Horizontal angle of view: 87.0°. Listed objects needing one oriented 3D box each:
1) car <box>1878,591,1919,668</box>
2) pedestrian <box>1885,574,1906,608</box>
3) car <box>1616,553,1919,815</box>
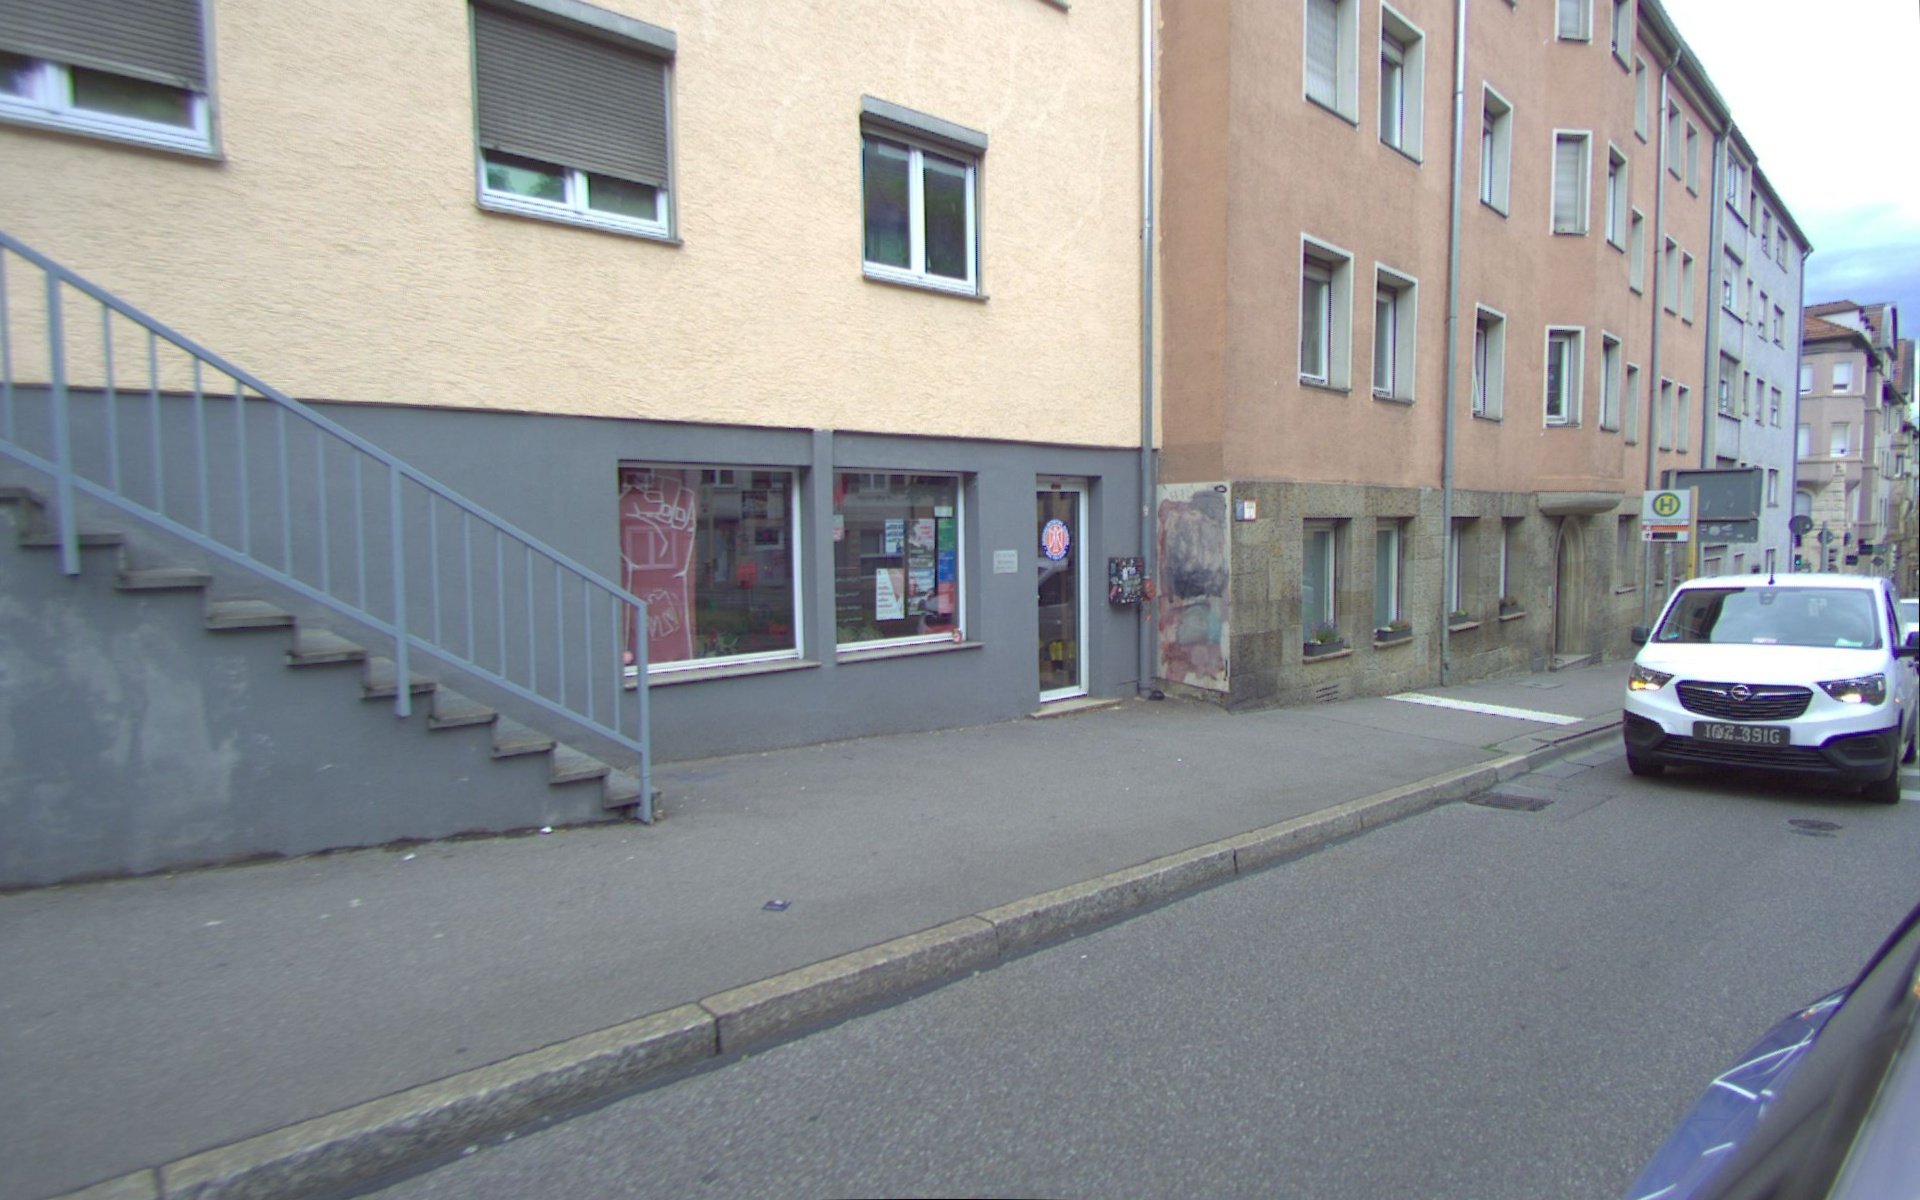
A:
[{"bbox_3d":[22.124,0.616,22.888,4.095,1.628,1.776,0,0,-45],"label":"car"},{"bbox_3d":[46.934,-0.470,50.762,0.733,1.668,0.989,1,1,44],"label":"pedestrian"},{"bbox_3d":[7.711,0.546,9.292,4.763,1.811,1.786,-1,1,-44],"label":"car"}]
